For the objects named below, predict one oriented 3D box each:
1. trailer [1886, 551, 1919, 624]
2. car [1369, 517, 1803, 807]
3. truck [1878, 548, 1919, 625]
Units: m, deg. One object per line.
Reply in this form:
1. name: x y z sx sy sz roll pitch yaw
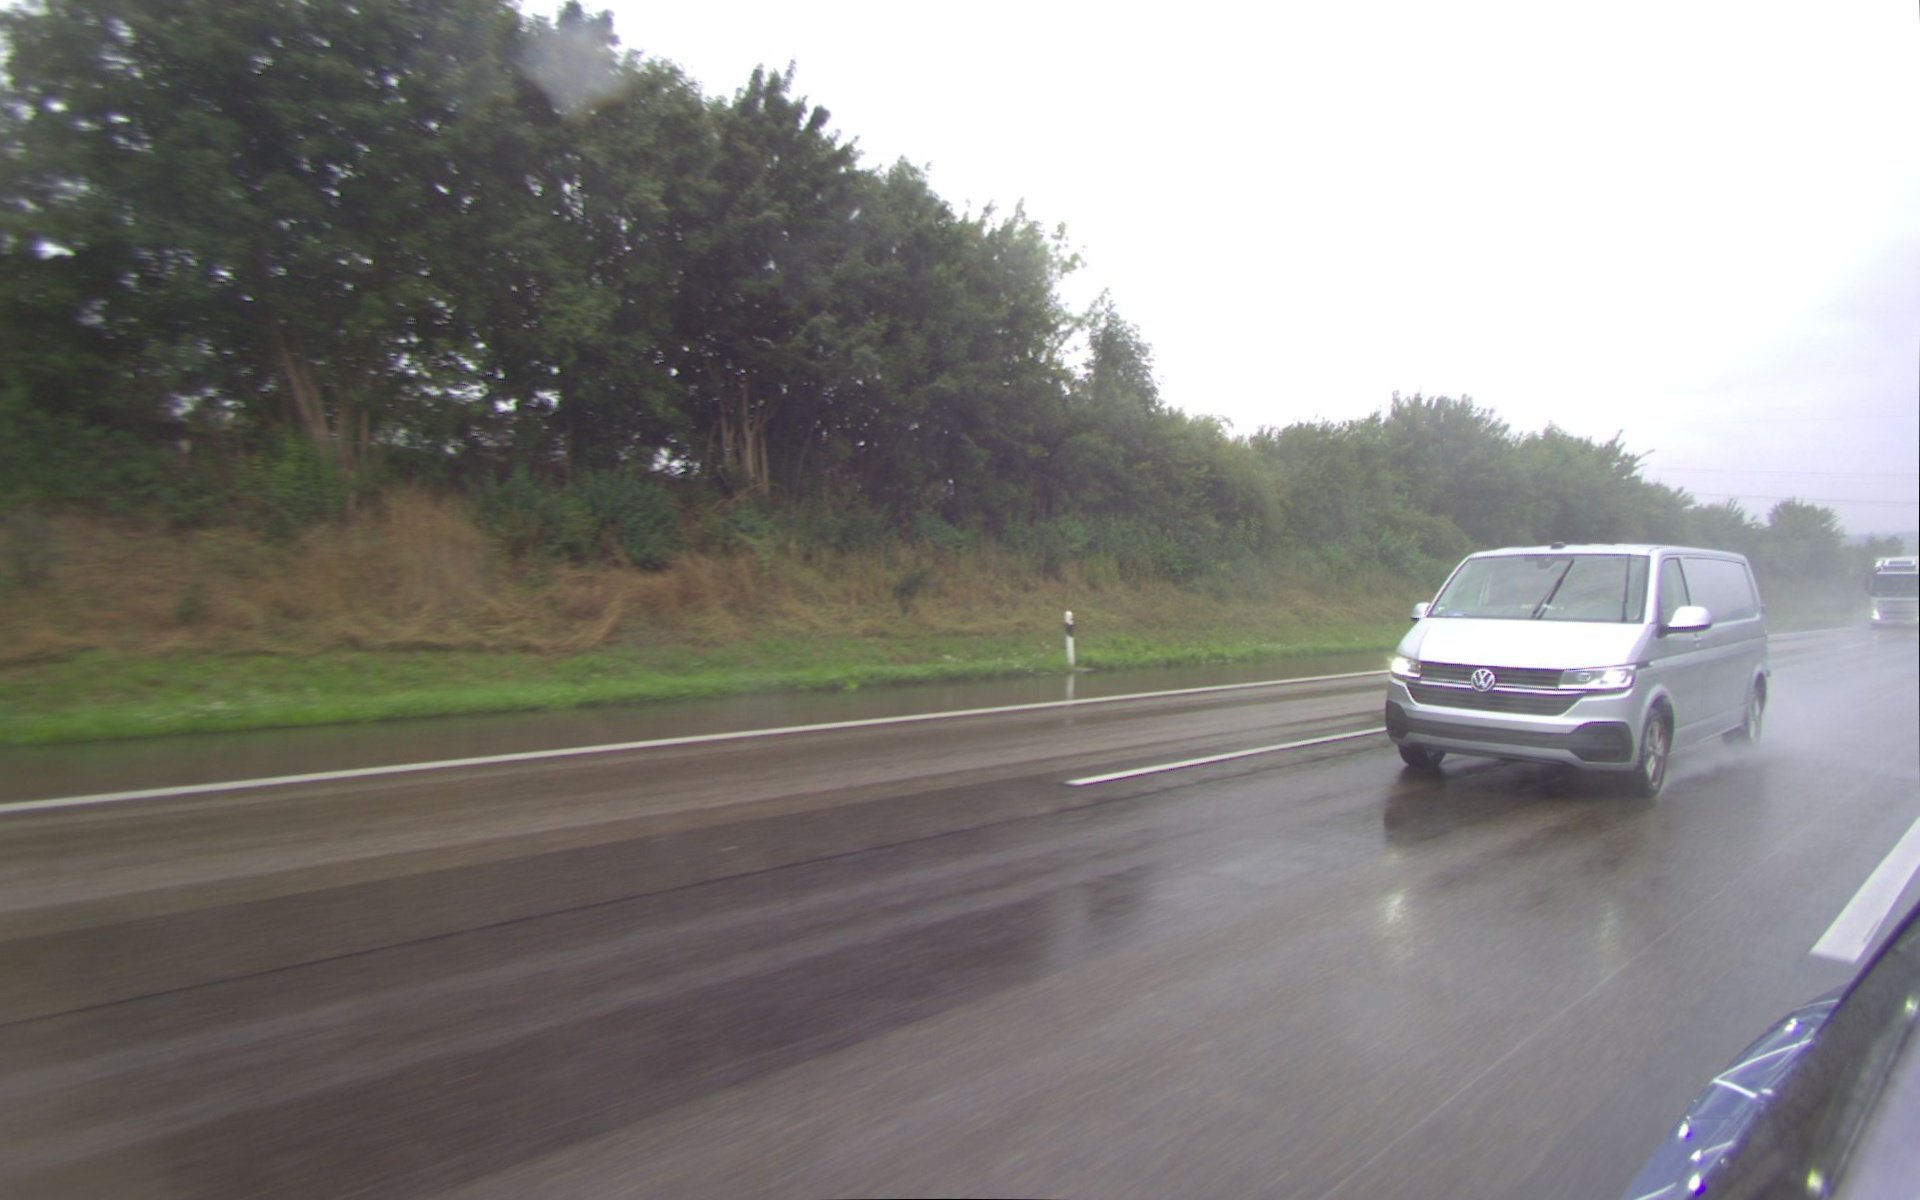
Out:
1. trailer: 58.950 -0.704 61.326 13.549 4.139 2.617 0 1 -41
2. car: 5.755 0.390 8.998 4.921 1.907 1.891 0 1 -41
3. truck: 53.606 -0.753 56.659 5.146 4.139 2.617 0 1 -41
